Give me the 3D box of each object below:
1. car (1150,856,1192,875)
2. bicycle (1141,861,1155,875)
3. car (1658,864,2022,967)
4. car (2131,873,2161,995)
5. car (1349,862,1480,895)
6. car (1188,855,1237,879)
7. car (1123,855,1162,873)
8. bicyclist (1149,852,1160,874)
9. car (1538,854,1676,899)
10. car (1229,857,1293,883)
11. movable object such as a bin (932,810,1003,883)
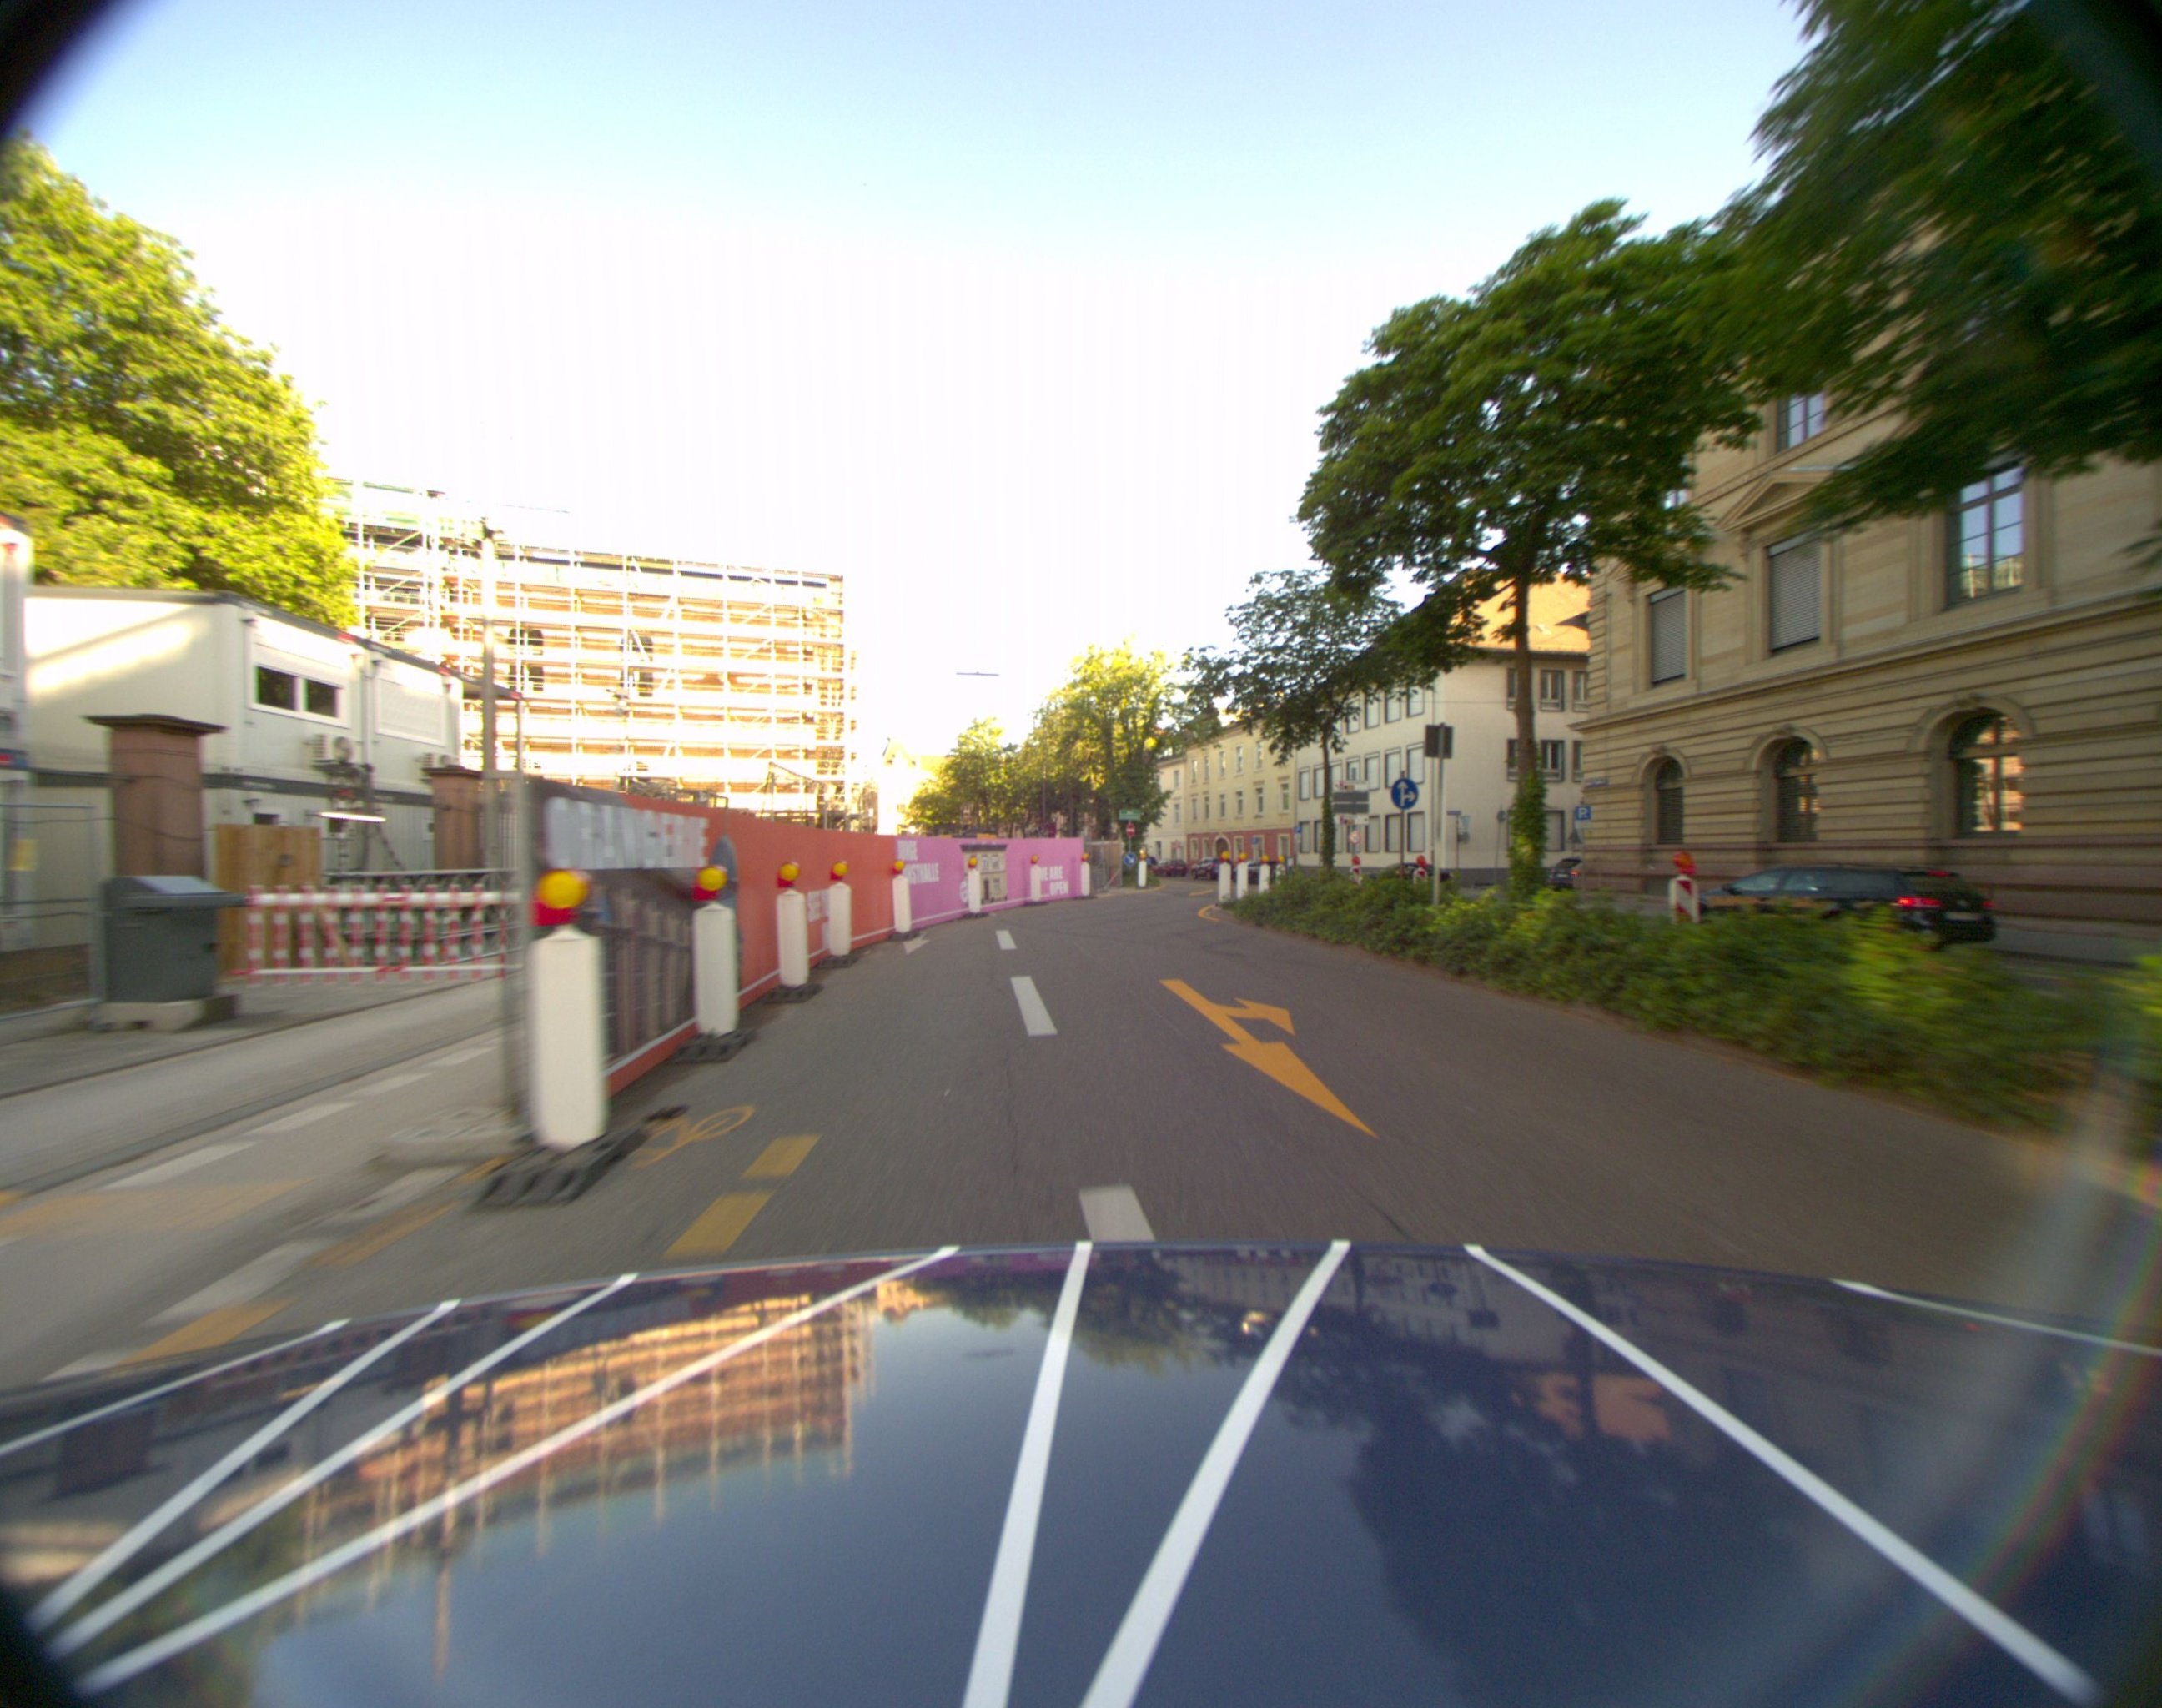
[{"bbox_3d":[7.290,0.905,61.869,1.774,1.479,4.187,-1,0,-18],"label":"car"},{"bbox_3d":[5.416,1.141,61.387,0.611,1.064,1.895,2,0,-12],"label":"bicycle"},{"bbox_3d":[13.562,0.985,14.114,1.885,1.499,4.641,2,0,-5],"label":"car"},{"bbox_3d":[14.337,0.994,7.803,1.673,1.499,3.844,0,0,-5],"label":"car"},{"bbox_3d":[14.094,1.022,32.251,4.772,1.315,1.766,0,0,-2],"label":"car"},{"bbox_3d":[9.216,0.871,53.398,1.808,1.562,4.149,0,0,-15],"label":"car"},{"bbox_3d":[5.375,0.855,67.069,1.821,1.562,4.383,0,0,-18],"label":"car"},{"bbox_3d":[5.822,0.696,60.422,0.583,1.665,0.835,3,1,-12],"label":"bicyclist"},{"bbox_3d":[20.868,0.899,30.189,4.658,1.661,1.880,1,0,-14],"label":"car"},{"bbox_3d":[10.992,0.933,46.704,1.882,1.499,4.781,-1,0,-13],"label":"car"},{"bbox_3d":[-5.436,-0.331,36.756,3.172,3.281,4.382,0,0,-8],"label":"movable object such as a bin"}]
